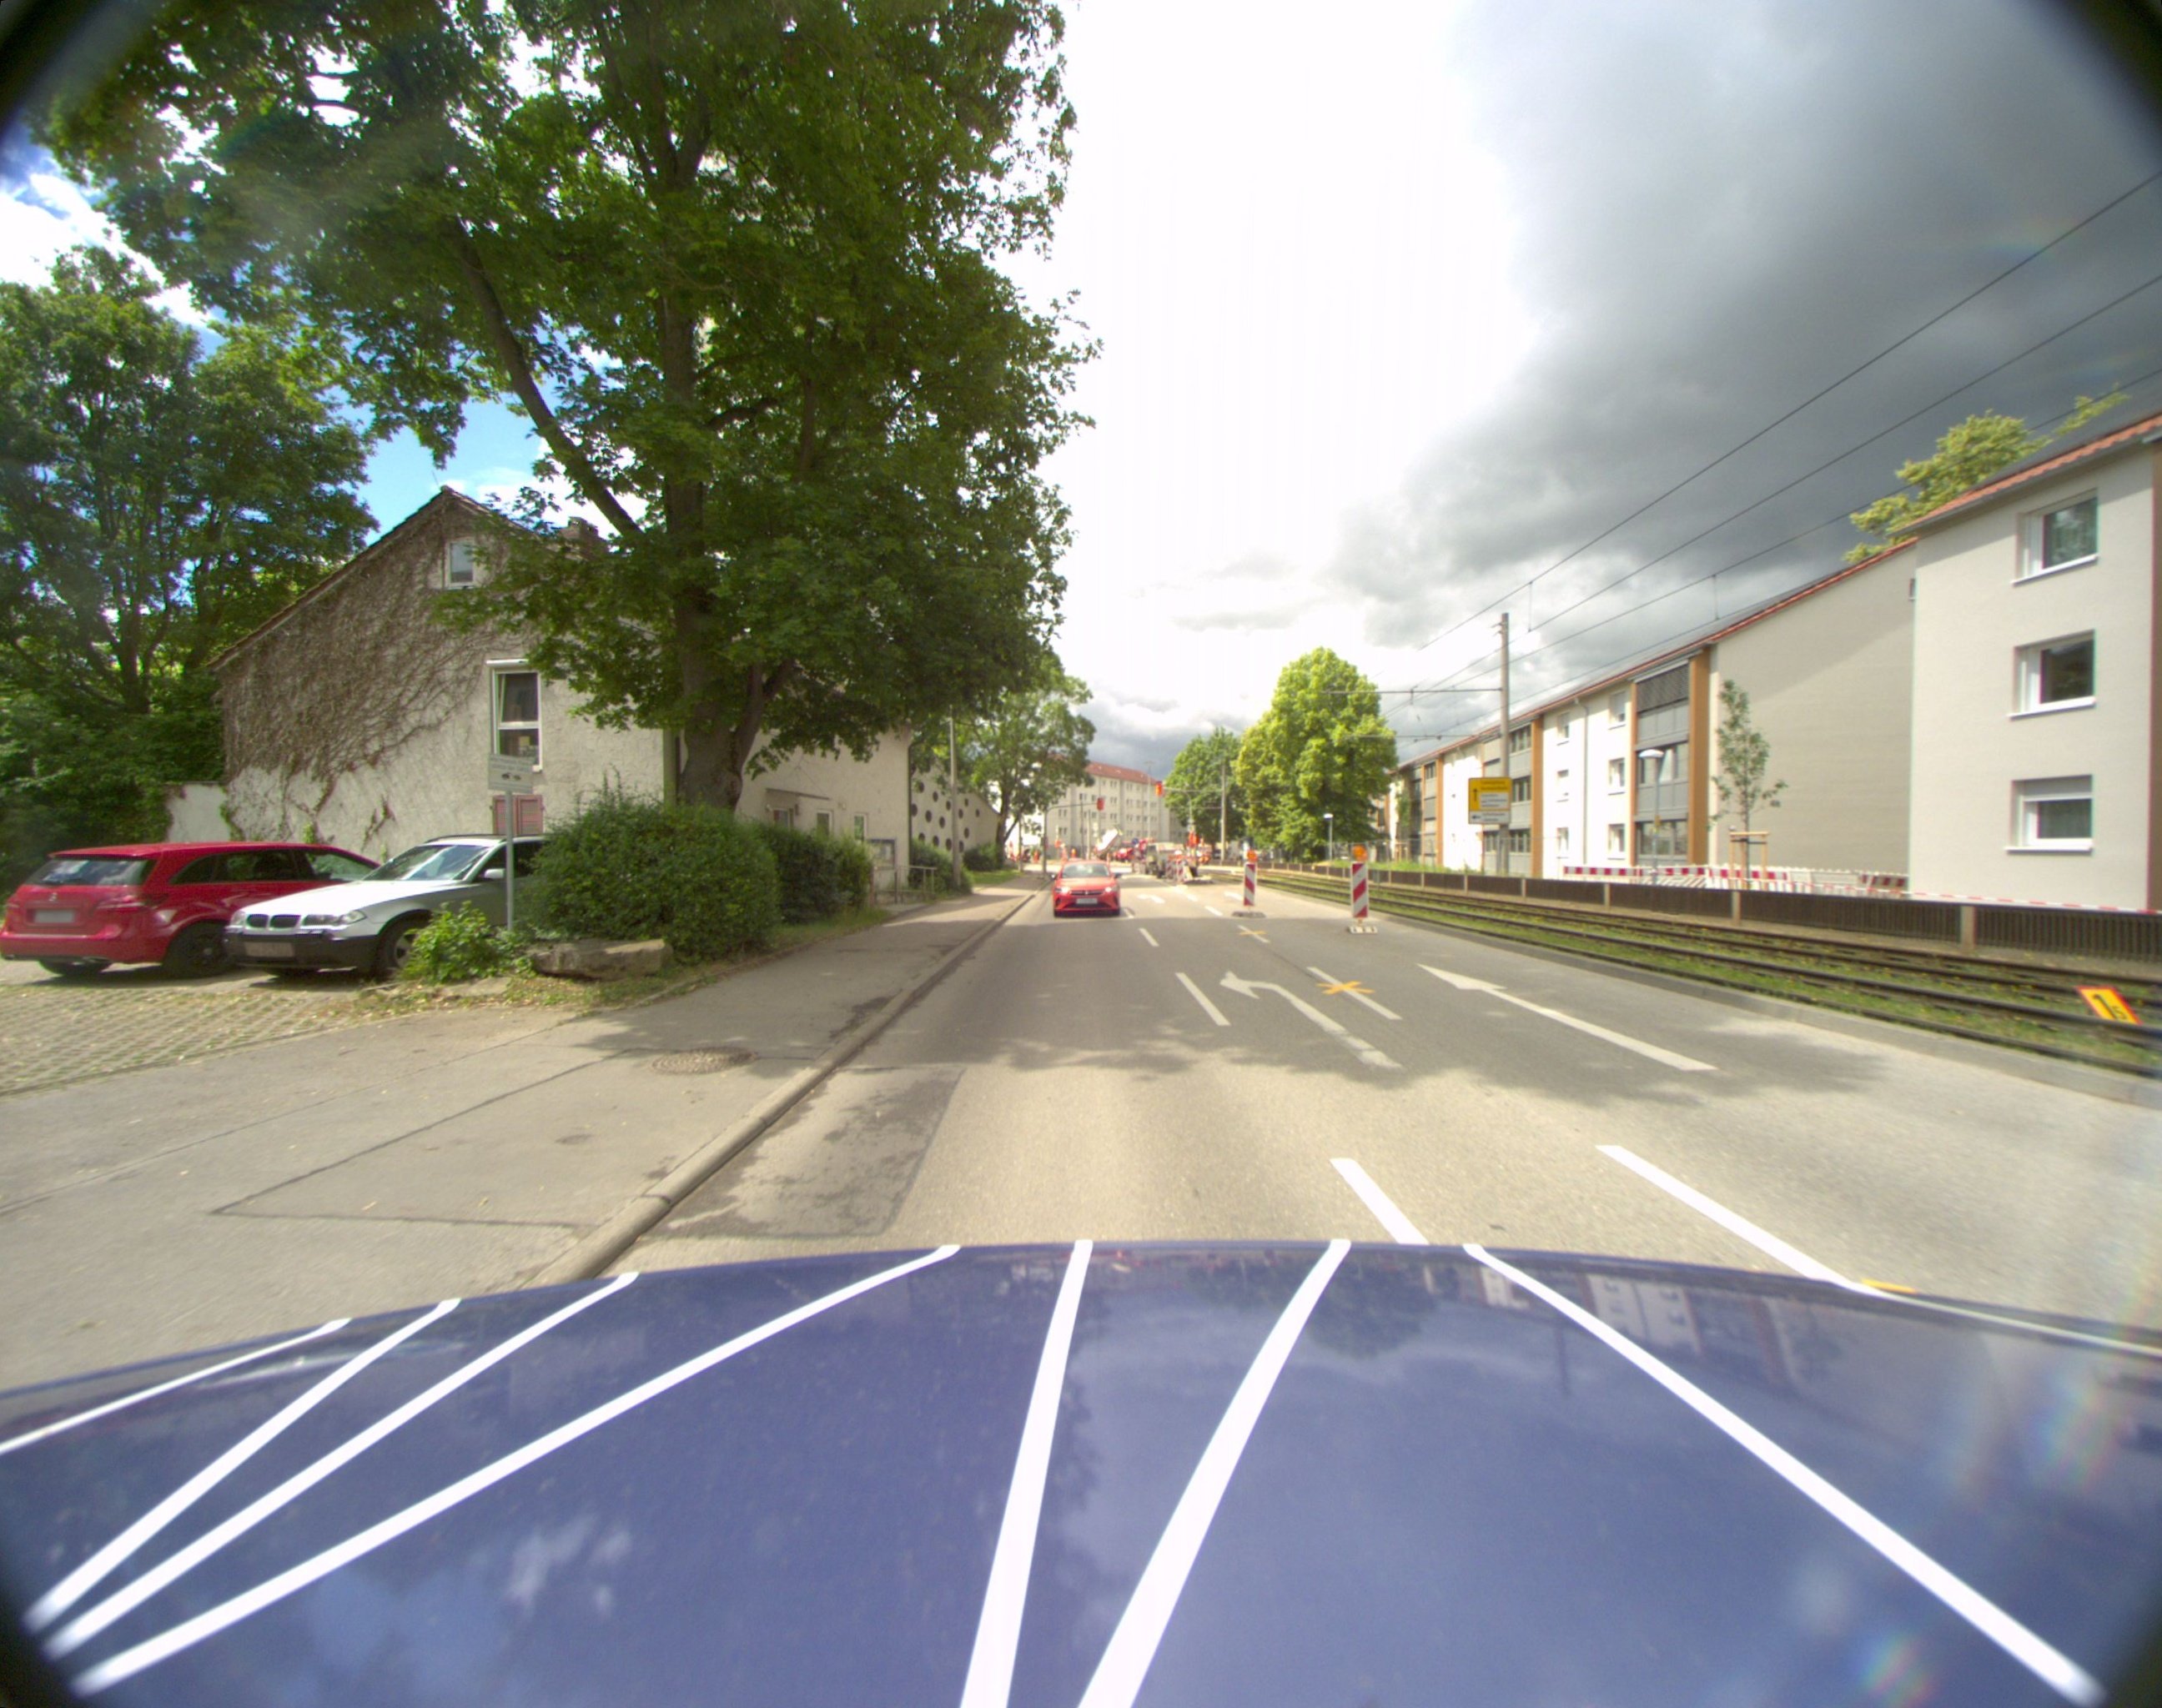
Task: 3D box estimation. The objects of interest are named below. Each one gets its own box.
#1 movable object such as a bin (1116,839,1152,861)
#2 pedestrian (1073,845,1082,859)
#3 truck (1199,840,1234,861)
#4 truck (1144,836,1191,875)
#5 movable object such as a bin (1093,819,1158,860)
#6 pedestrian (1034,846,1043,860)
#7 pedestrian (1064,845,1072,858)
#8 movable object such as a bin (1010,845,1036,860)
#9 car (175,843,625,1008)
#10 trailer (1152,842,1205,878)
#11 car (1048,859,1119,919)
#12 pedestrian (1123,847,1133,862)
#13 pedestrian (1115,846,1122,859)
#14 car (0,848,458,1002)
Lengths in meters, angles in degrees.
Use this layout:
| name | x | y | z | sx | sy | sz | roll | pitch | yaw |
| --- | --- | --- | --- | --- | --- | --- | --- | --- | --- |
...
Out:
| name | x | y | z | sx | sy | sz | roll | pitch | yaw |
| --- | --- | --- | --- | --- | --- | --- | --- | --- | --- |
| movable object such as a bin | 6.792 | -0.520 | 97.372 | 2.110 | 2.653 | 5.598 | 0 | 2 | 34 |
| pedestrian | -0.448 | -0.278 | 106.062 | 0.872 | 1.813 | 1.098 | 0 | 1 | 28 |
| truck | 17.160 | -0.446 | 96.140 | 2.412 | 2.553 | 5.594 | 0 | 1 | 33 |
| truck | 6.430 | 0.058 | 57.353 | 2.669 | 2.709 | 6.394 | -1 | 0 | 0 |
| movable object such as a bin | 6.093 | -1.897 | 103.406 | 9.052 | 5.453 | 2.814 | 0 | 0 | -34 |
| pedestrian | -5.632 | -0.180 | 100.730 | 0.767 | 1.828 | 0.785 | 0 | 1 | 26 |
| pedestrian | -1.849 | -0.333 | 106.515 | 0.882 | 1.897 | 0.666 | -1 | 2 | -24 |
| movable object such as a bin | -7.817 | -0.170 | 102.159 | 2.959 | 2.002 | 2.004 | 0 | 0 | 37 |
| car | -8.137 | 0.696 | 9.690 | 1.815 | 1.640 | 4.002 | 0 | 1 | 9 |
| trailer | 6.455 | 0.338 | 51.013 | 2.669 | 2.201 | 6.247 | -1 | 0 | 0 |
| car | 0.159 | 0.916 | 21.519 | 1.769 | 1.425 | 3.839 | -2 | 0 | 3 |
| pedestrian | 5.656 | 0.054 | 91.192 | 0.797 | 1.822 | 0.969 | -1 | 2 | -21 |
| pedestrian | 4.910 | -0.202 | 99.133 | 0.611 | 1.778 | 0.583 | -2 | 0 | 31 |
| car | -10.736 | 0.714 | 9.858 | 1.815 | 1.574 | 4.001 | 0 | 1 | 4 |
